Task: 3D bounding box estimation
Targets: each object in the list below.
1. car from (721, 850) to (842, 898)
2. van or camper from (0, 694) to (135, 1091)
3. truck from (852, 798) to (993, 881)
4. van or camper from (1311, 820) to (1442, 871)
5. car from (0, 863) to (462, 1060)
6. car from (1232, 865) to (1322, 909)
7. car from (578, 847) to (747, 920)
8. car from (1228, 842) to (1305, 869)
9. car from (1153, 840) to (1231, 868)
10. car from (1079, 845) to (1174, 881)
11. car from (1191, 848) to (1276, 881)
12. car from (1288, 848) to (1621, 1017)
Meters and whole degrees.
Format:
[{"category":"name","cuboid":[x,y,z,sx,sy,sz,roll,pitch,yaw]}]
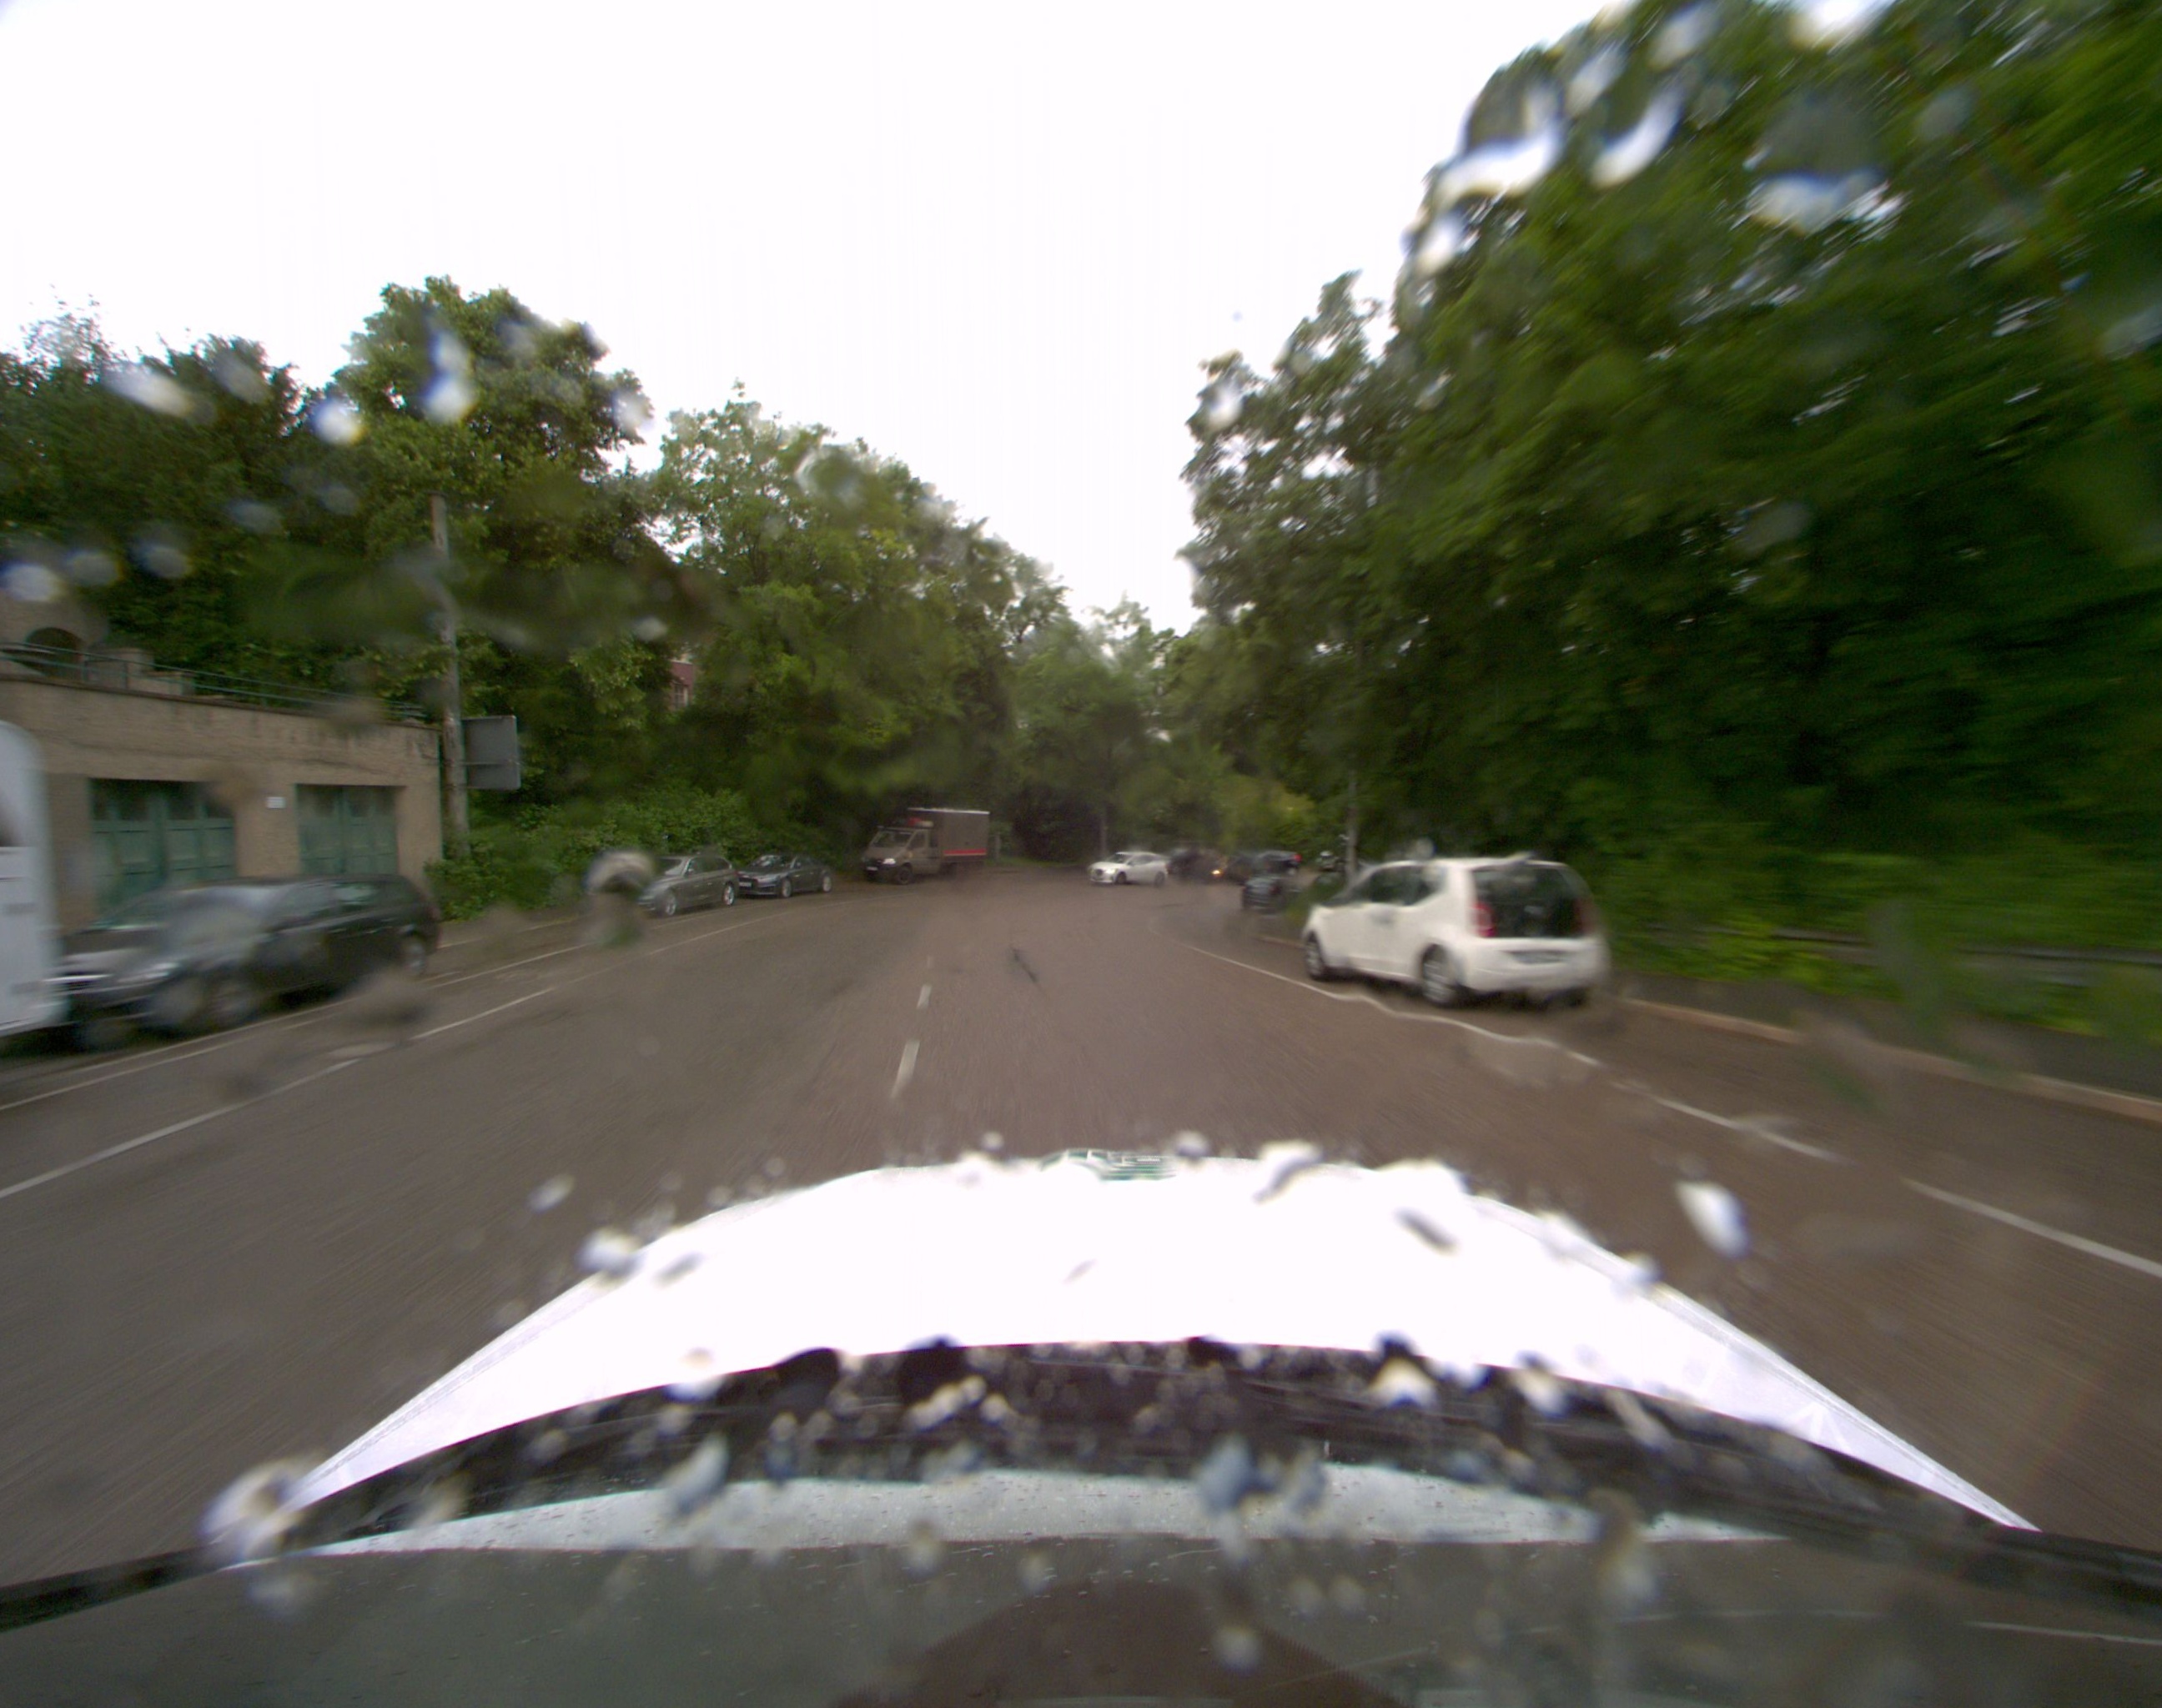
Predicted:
[{"category":"car","cuboid":[-9.494,0.579,26.171,1.689,1.275,4.259,1,2,10]},{"category":"van or camper","cuboid":[-8.239,0.348,2.937,2.155,2.788,7.027,-3,1,-9]},{"category":"truck","cuboid":[-6.447,-0.602,34.297,2.015,3.102,6.653,4,2,27]},{"category":"van or camper","cuboid":[18.916,-0.571,52.338,7.625,2.930,2.199,1,5,-6]},{"category":"car","cuboid":[-9.305,0.955,9.190,1.787,1.498,4.357,-2,2,-10]},{"category":"car","cuboid":[7.874,1.274,32.507,1.634,1.464,4.057,7,4,41]},{"category":"car","cuboid":[-10.285,0.644,20.459,1.692,1.498,4.534,1,2,3]},{"category":"car","cuboid":[11.571,0.086,50.853,4.306,1.355,1.752,2,5,-15]},{"category":"car","cuboid":[6.616,0.012,48.464,4.325,1.464,1.768,0,5,-30]},{"category":"car","cuboid":[2.207,0.403,38.506,4.480,1.570,1.783,1,1,-42]},{"category":"car","cuboid":[8.012,0.562,42.903,4.090,1.518,1.753,2,2,-24]},{"category":"car","cuboid":[3.871,0.721,9.170,1.586,1.502,3.653,0,-1,-11]}]
